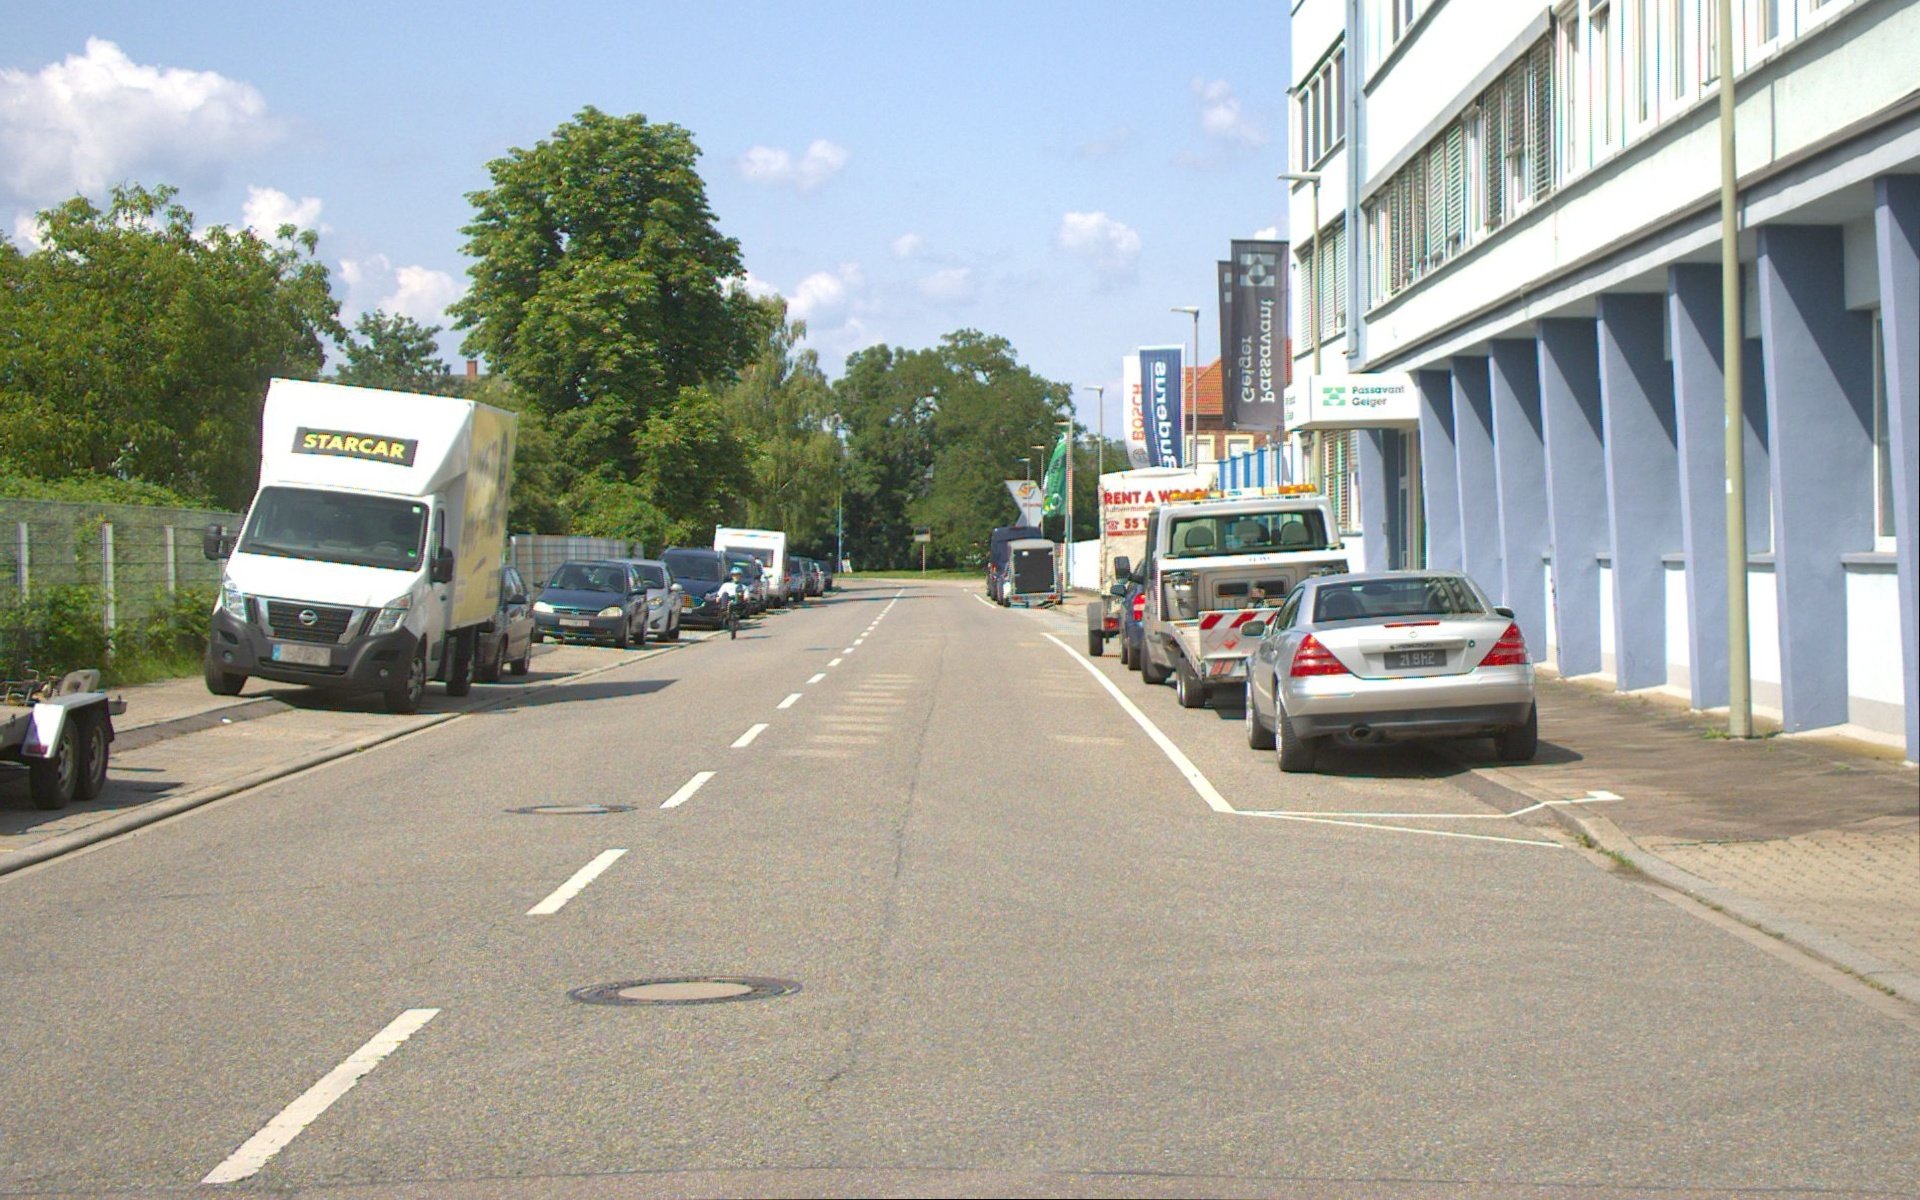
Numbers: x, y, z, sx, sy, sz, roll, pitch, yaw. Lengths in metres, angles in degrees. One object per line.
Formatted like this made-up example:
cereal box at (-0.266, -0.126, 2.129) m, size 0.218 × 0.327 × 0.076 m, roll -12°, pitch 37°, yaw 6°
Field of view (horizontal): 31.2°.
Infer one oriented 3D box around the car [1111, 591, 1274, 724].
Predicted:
car at (2.840, 0.670, 42.739) m, size 1.718 × 1.537 × 4.403 m, roll 1°, pitch 0°, yaw 0°

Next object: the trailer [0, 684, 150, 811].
trailer at (-6.585, 0.890, 21.168) m, size 2.235 × 0.550 × 4.445 m, roll 0°, pitch 1°, yaw -1°

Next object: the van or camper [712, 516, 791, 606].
van or camper at (-6.925, -1.291, 114.817) m, size 2.262 × 2.794 × 6.834 m, roll 4°, pitch 0°, yaw -2°

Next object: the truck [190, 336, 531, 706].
truck at (-6.144, -0.817, 36.202) m, size 2.250 × 3.350 × 6.907 m, roll 5°, pitch 1°, yaw -1°

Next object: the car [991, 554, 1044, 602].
car at (1.824, -0.713, 110.228) m, size 1.572 × 1.502 × 4.133 m, roll 0°, pitch 0°, yaw -1°

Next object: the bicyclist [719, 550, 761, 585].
bicyclist at (-4.111, -0.610, 64.385) m, size 0.566 × 0.629 × 1.857 m, roll 1°, pitch 1°, yaw 3°

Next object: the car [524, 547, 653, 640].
car at (-6.228, -0.136, 57.997) m, size 1.569 × 1.394 × 3.798 m, roll 5°, pitch 1°, yaw 1°

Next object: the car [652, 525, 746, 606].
car at (-5.751, -0.765, 76.234) m, size 1.801 × 1.744 × 4.713 m, roll 0°, pitch 1°, yaw -1°

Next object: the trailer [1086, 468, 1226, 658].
trailer at (2.726, -0.525, 48.567) m, size 1.869 × 2.544 × 5.071 m, roll 0°, pitch 1°, yaw 2°

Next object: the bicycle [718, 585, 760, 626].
bicycle at (-4.131, 0.101, 64.405) m, size 0.587 × 0.739 × 2.125 m, roll 0°, pitch 1°, yaw 2°

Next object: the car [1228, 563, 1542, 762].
car at (2.870, 0.380, 23.953) m, size 1.647 × 1.242 × 4.000 m, roll 0°, pitch 1°, yaw -1°

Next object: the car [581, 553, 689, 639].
car at (-5.932, -0.097, 63.047) m, size 1.615 × 1.478 × 3.710 m, roll 2°, pitch 1°, yaw 0°

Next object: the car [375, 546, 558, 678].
car at (-6.182, 0.121, 43.455) m, size 1.619 × 1.425 × 3.827 m, roll 6°, pitch 1°, yaw 0°

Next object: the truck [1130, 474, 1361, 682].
truck at (2.912, -0.239, 35.979) m, size 1.964 × 2.028 × 4.734 m, roll 0°, pitch 1°, yaw -1°

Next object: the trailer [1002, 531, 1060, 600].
trailer at (2.135, -1.037, 104.039) m, size 1.601 × 2.030 × 2.741 m, roll 1°, pitch 0°, yaw -1°

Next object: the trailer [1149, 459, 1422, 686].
trailer at (2.979, -0.273, 32.674) m, size 1.973 × 1.964 × 5.766 m, roll 0°, pitch 1°, yaw -1°

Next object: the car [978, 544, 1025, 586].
car at (1.677, -1.443, 139.975) m, size 1.825 × 1.659 × 4.556 m, roll -1°, pitch 1°, yaw 0°
